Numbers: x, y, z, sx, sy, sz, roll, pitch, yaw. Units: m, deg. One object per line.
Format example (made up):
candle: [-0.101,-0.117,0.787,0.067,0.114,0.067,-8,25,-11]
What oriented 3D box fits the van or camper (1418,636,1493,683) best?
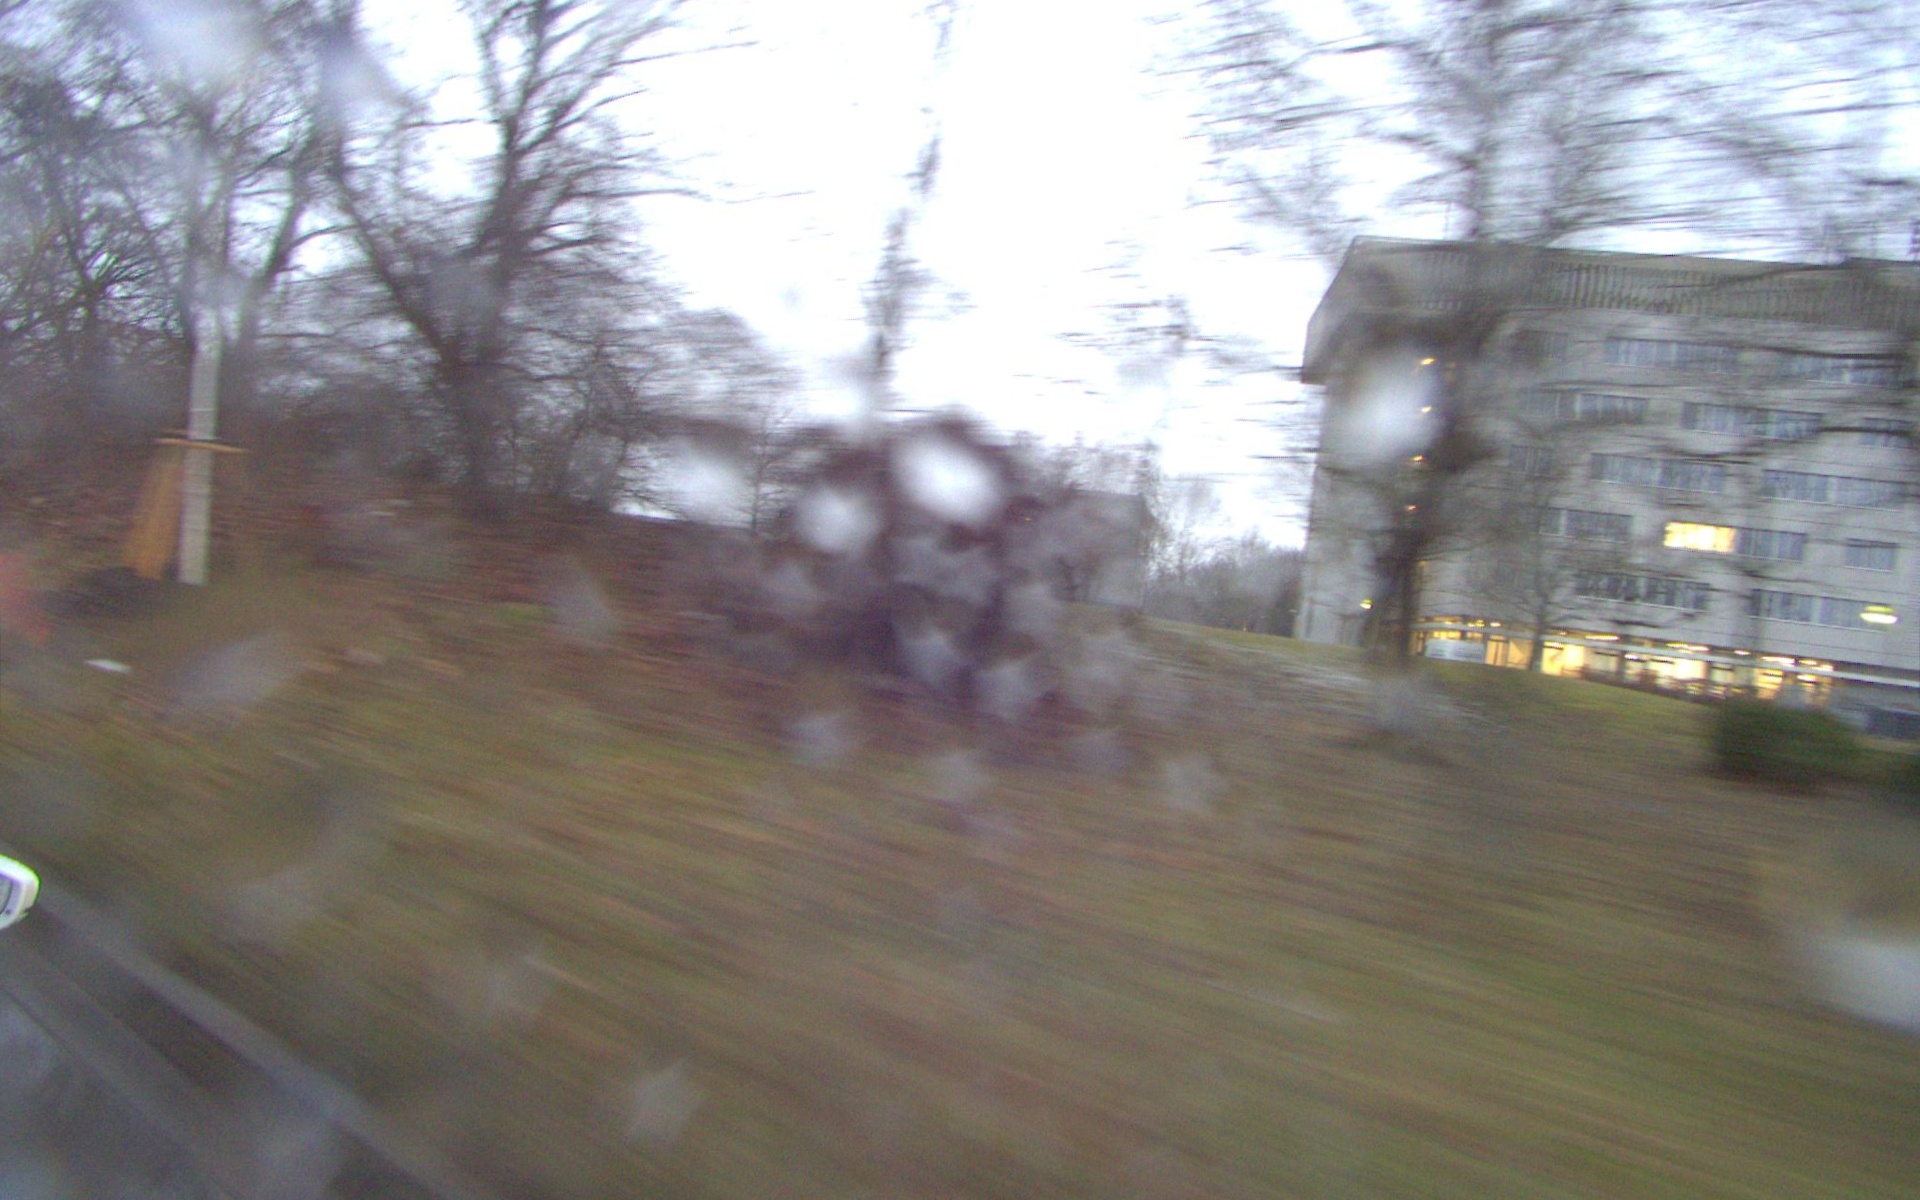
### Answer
van or camper: [29.104,3.471,59.301,2.095,2.373,4.480,7,-1,3]
